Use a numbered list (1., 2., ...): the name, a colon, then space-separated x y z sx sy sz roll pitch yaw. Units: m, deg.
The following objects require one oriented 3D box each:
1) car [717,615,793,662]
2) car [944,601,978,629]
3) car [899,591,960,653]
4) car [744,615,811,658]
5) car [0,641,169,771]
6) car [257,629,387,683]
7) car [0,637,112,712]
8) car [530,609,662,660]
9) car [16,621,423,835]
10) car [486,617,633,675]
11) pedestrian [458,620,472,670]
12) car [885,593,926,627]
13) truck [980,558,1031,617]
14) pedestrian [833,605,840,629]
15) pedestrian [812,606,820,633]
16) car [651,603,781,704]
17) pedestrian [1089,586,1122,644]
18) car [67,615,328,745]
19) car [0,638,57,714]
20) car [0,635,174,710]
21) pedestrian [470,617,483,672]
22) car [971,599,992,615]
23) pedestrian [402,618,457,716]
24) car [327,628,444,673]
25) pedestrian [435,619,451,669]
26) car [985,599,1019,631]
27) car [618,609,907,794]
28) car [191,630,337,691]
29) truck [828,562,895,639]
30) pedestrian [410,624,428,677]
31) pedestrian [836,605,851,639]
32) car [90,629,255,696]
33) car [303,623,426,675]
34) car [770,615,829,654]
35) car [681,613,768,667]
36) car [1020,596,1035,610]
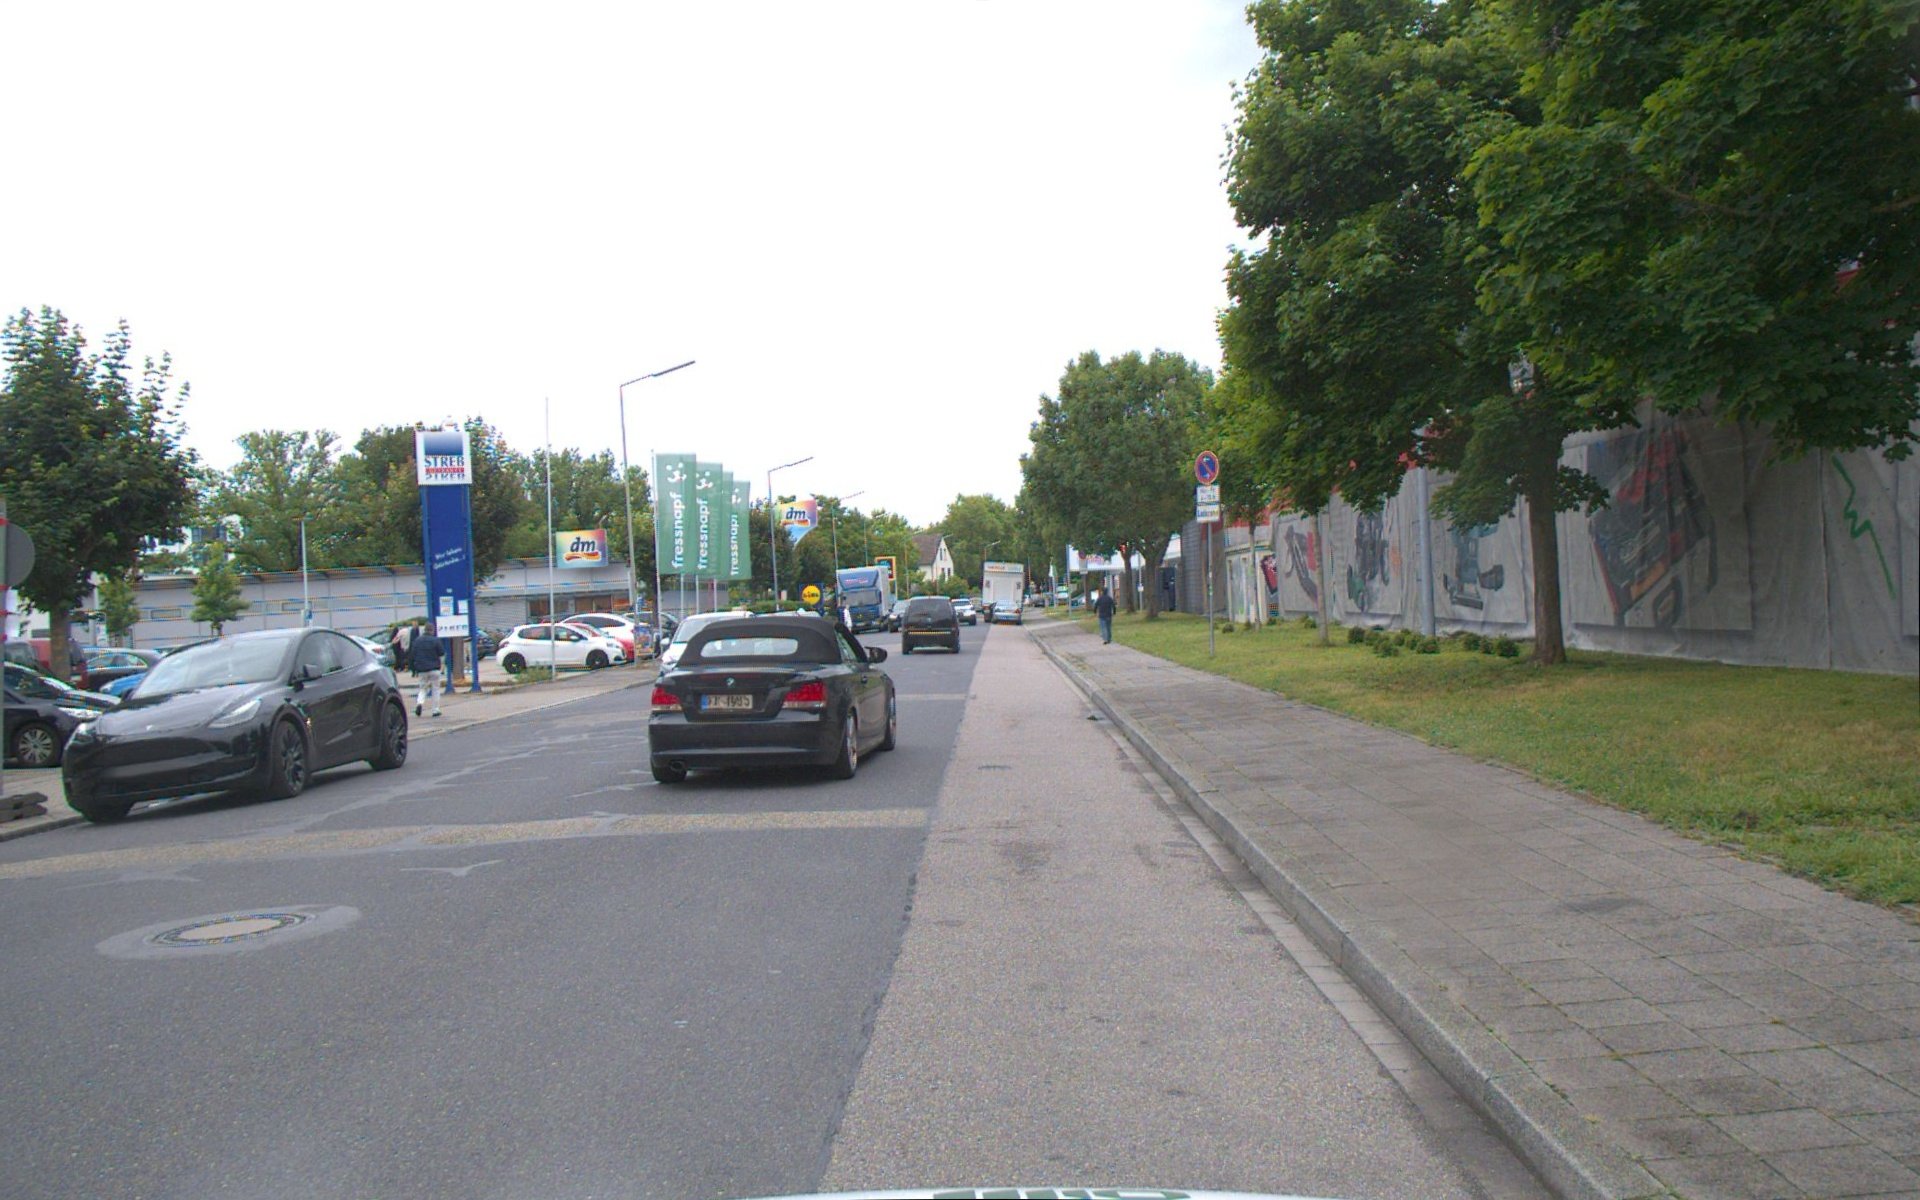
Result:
1. car: -6.836 1.255 55.513 1.859 1.391 4.001 -3 0 1
2. car: 0.079 0.867 96.424 1.847 1.558 4.255 -1 0 2
3. car: -0.868 0.623 48.500 1.647 1.660 3.758 -3 0 0
4. car: -6.710 1.322 61.102 1.859 1.391 4.001 -3 0 1
5. car: -13.347 1.468 22.907 3.793 1.649 1.928 -2 0 2
6. car: -23.304 2.026 60.494 3.905 1.698 1.877 -3 0 1
7. car: -23.738 1.904 41.467 3.905 1.698 1.877 -3 0 1
8. car: -12.365 1.161 56.368 4.054 1.488 1.897 -3 0 -4
9. car: -7.075 1.127 16.407 1.908 1.552 4.402 -7 0 0
10. car: -12.398 1.408 51.404 4.123 1.488 1.950 -3 0 -6
11. pedestrian: -15.827 1.439 52.907 0.324 1.597 0.503 -2 0 -10
12. car: -2.886 0.550 88.292 1.953 1.713 4.000 -2 -1 0
13. truck: 2.912 -0.731 108.948 3.071 3.647 10.049 -2 -1 0
14. pedestrian: -8.201 1.124 109.633 0.394 1.558 0.485 -3 0 -5
15. pedestrian: -8.545 1.173 98.313 0.394 1.558 0.485 -3 0 -5
16. car: -4.268 0.910 29.420 1.566 1.554 3.529 -5 -1 2
17. pedestrian: 4.292 0.439 48.924 0.900 1.663 0.853 -2 -1 3
18. car: -13.863 1.419 30.239 3.854 2.048 1.759 -4 0 -6
19. car: -23.761 1.878 38.931 3.905 1.698 1.877 -3 0 1
20. car: -23.253 1.913 43.798 3.905 1.698 1.877 -3 0 1
21. pedestrian: -15.502 1.421 53.025 0.258 1.760 0.421 -3 0 -11
22. car: 2.062 0.675 159.327 1.847 1.558 4.255 -1 0 2
23. pedestrian: -9.791 1.232 30.534 0.760 1.745 0.696 -2 0 -3
24. car: -22.636 1.981 65.248 3.904 1.518 1.786 -3 0 2
25. pedestrian: -16.644 1.410 53.269 0.352 1.597 0.503 -3 0 -9
26. car: 2.513 0.919 99.674 1.953 1.837 4.000 -2 -1 0
27. car: -1.634 0.820 15.109 1.708 1.382 4.140 -3 -1 6
28. car: -22.726 1.953 54.097 3.905 1.698 1.877 -3 0 1
29. truck: -5.566 0.005 94.534 2.912 4.024 6.406 -4 0 2
30. pedestrian: -17.365 1.608 53.081 0.448 1.670 0.373 -3 0 -16
31. pedestrian: -5.873 1.105 83.665 0.618 1.665 0.668 -3 0 0
32. car: -23.299 1.834 49.024 3.905 1.698 1.877 -3 0 1
33. car: -22.612 1.834 62.915 3.905 1.698 1.877 -3 0 1
34. car: -6.477 1.380 67.044 1.859 1.391 4.001 -3 0 1
35. car: -6.960 1.159 49.283 1.859 1.391 4.001 -3 0 1
36. car: 8.631 0.389 211.965 1.847 1.713 4.255 -1 0 2
